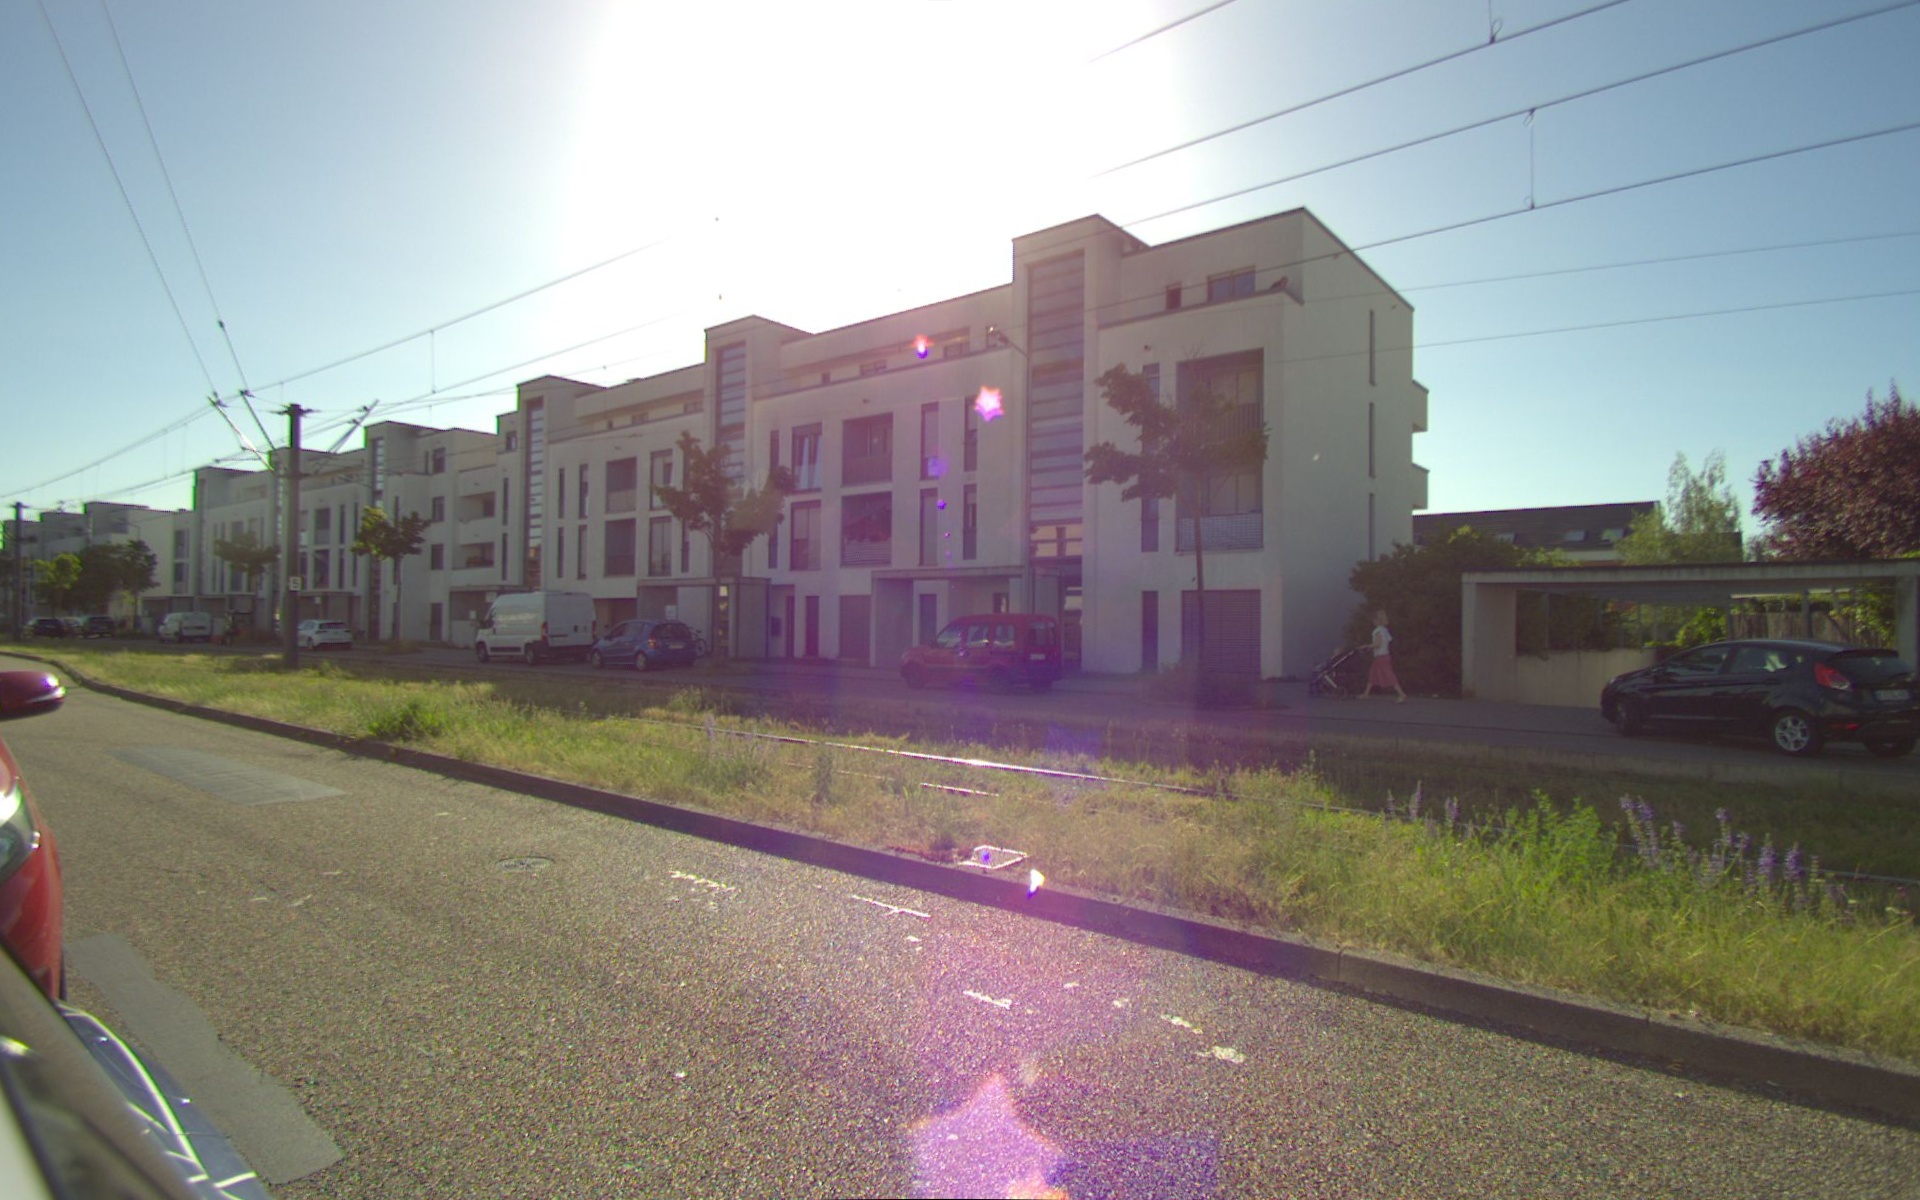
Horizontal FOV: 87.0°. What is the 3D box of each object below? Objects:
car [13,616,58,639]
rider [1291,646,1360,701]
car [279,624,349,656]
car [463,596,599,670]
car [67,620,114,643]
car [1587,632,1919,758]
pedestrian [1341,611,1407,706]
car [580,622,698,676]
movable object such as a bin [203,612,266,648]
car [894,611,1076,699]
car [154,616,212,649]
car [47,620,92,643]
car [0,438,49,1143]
[{"bbox_3d":[-62.103,1.843,67.985,3.999,1.429,1.769,-1,-4,42],"label":"car"},{"bbox_3d":[7.252,1.449,20.108,0.769,1.010,1.046,0,-1,-44],"label":"rider"},{"bbox_3d":[-31.228,1.902,48.863,4.149,1.443,1.503,-1,-1,37],"label":"car"},{"bbox_3d":[-15.375,1.133,36.109,5.583,2.463,2.119,-1,-1,39],"label":"car"},{"bbox_3d":[-63.059,2.292,73.408,4.149,1.611,1.745,-1,-1,37],"label":"car"},{"bbox_3d":[10.726,1.216,13.645,1.680,1.442,3.749,2,-3,-13],"label":"car"},{"bbox_3d":[7.926,1.100,19.383,0.806,1.761,0.910,0,-1,-44],"label":"pedestrian"},{"bbox_3d":[-10.071,1.476,31.636,3.840,1.548,1.805,-1,-1,41],"label":"car"},{"bbox_3d":[-41.289,1.709,57.592,4.149,1.952,1.745,-1,-1,37],"label":"movable object such as a bin"},{"bbox_3d":[0.511,1.190,23.022,3.836,1.809,1.861,-1,-1,42],"label":"car"},{"bbox_3d":[-47.298,1.969,61.587,4.149,1.884,1.745,-1,-1,37],"label":"car"},{"bbox_3d":[-67.579,2.381,76.779,4.149,1.611,1.745,-1,-1,37],"label":"car"},{"bbox_3d":[-5.174,0.577,3.873,5.203,1.948,1.954,-1,0,42],"label":"car"}]
